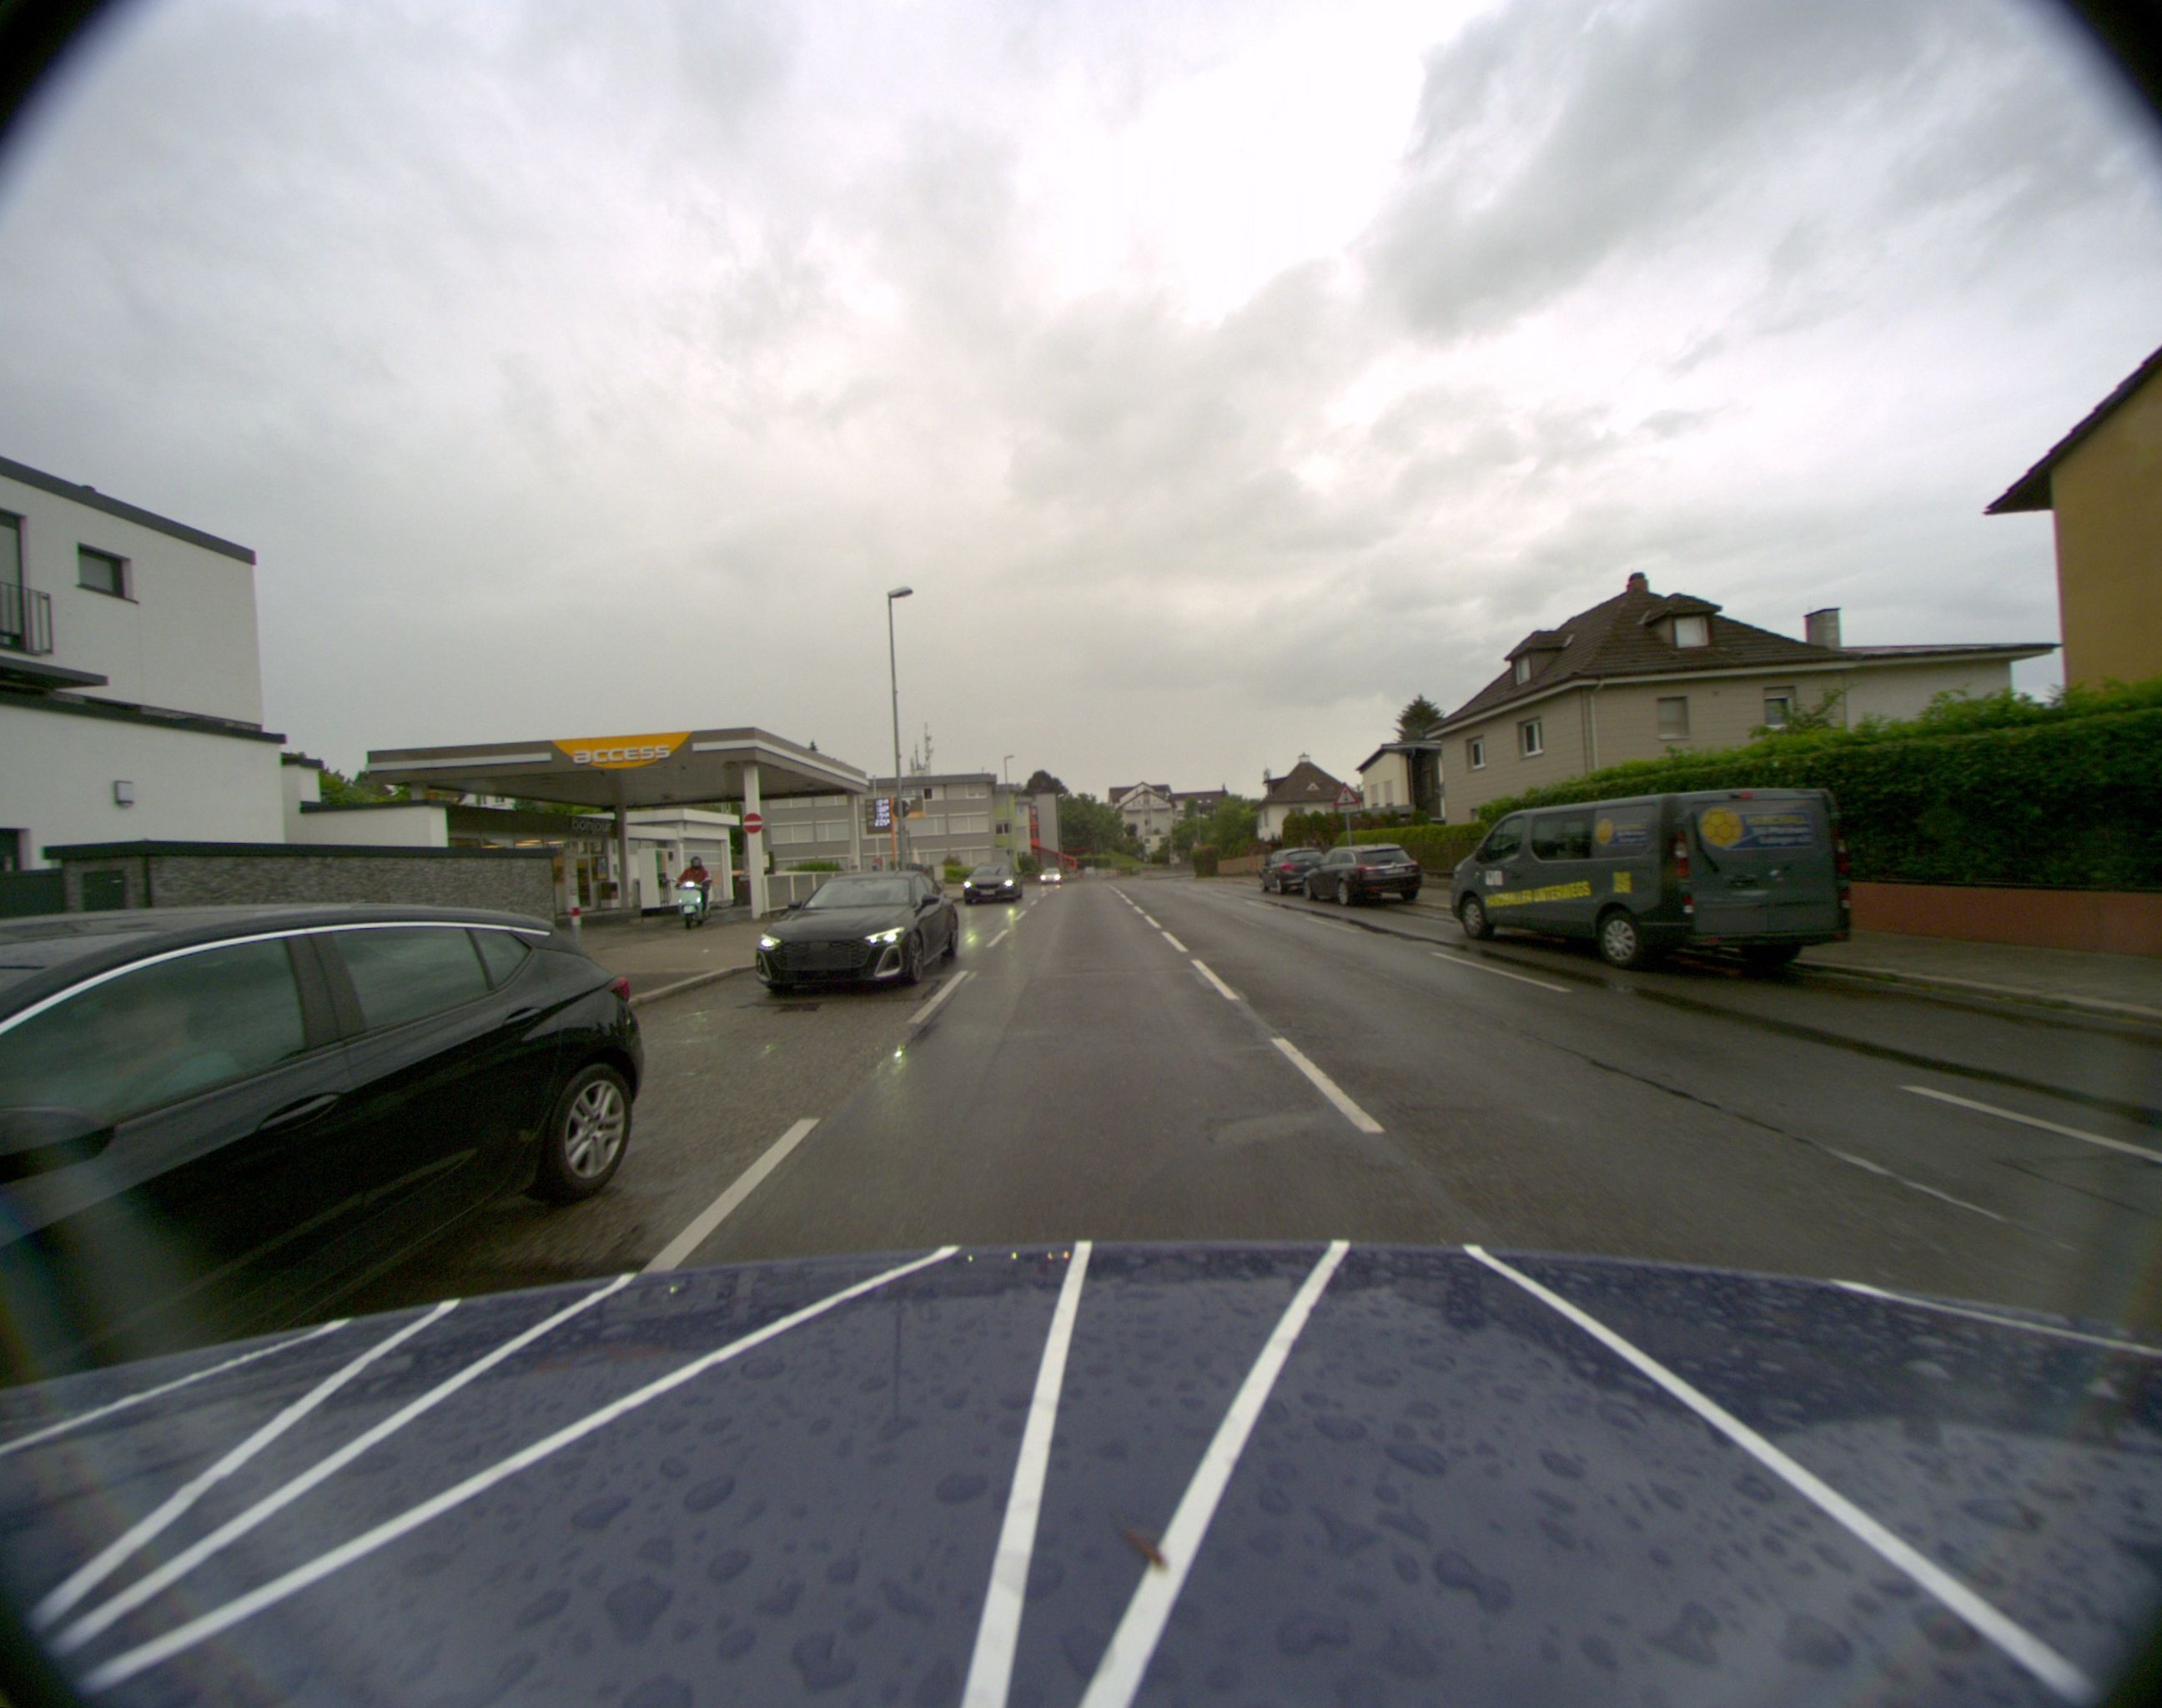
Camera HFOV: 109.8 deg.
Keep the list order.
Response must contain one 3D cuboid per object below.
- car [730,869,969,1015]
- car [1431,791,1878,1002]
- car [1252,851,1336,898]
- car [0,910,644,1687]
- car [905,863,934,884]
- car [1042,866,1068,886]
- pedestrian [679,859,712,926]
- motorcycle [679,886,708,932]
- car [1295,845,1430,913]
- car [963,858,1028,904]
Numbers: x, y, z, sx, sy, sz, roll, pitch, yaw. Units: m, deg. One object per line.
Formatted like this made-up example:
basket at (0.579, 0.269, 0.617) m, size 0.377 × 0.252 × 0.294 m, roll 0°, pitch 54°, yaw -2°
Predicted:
car at (-2.934, 1.033, 10.852) m, size 1.871 × 1.416 × 4.738 m, roll -3°, pitch 0°, yaw 0°
car at (6.865, 0.410, 10.064) m, size 1.918 × 1.991 × 5.086 m, roll -3°, pitch 0°, yaw -1°
car at (7.309, 0.641, 26.508) m, size 1.754 × 1.431 × 4.129 m, roll -3°, pitch 0°, yaw 1°
car at (-3.156, 1.055, 1.822) m, size 1.760 × 1.441 × 4.000 m, roll -3°, pitch 0°, yaw 1°
car at (-12.425, 1.480, 58.644) m, size 1.815 × 1.518 × 3.997 m, roll 1°, pitch 0°, yaw -7°
car at (-2.344, 1.966, 69.149) m, size 1.998 × 1.647 × 4.000 m, roll -3°, pitch 0°, yaw 3°
pedestrian at (-9.821, 0.974, 19.357) m, size 0.612 × 1.646 × 0.584 m, roll -3°, pitch 1°, yaw -22°
motorcycle at (-9.713, 1.364, 19.087) m, size 0.464 × 1.049 × 1.388 m, roll -3°, pitch 1°, yaw -21°
car at (7.303, 0.580, 20.227) m, size 1.755 × 1.508 × 4.526 m, roll -3°, pitch 0°, yaw -1°
car at (-3.196, 0.982, 29.076) m, size 1.872 × 1.510 × 4.000 m, roll -3°, pitch 0°, yaw 1°
